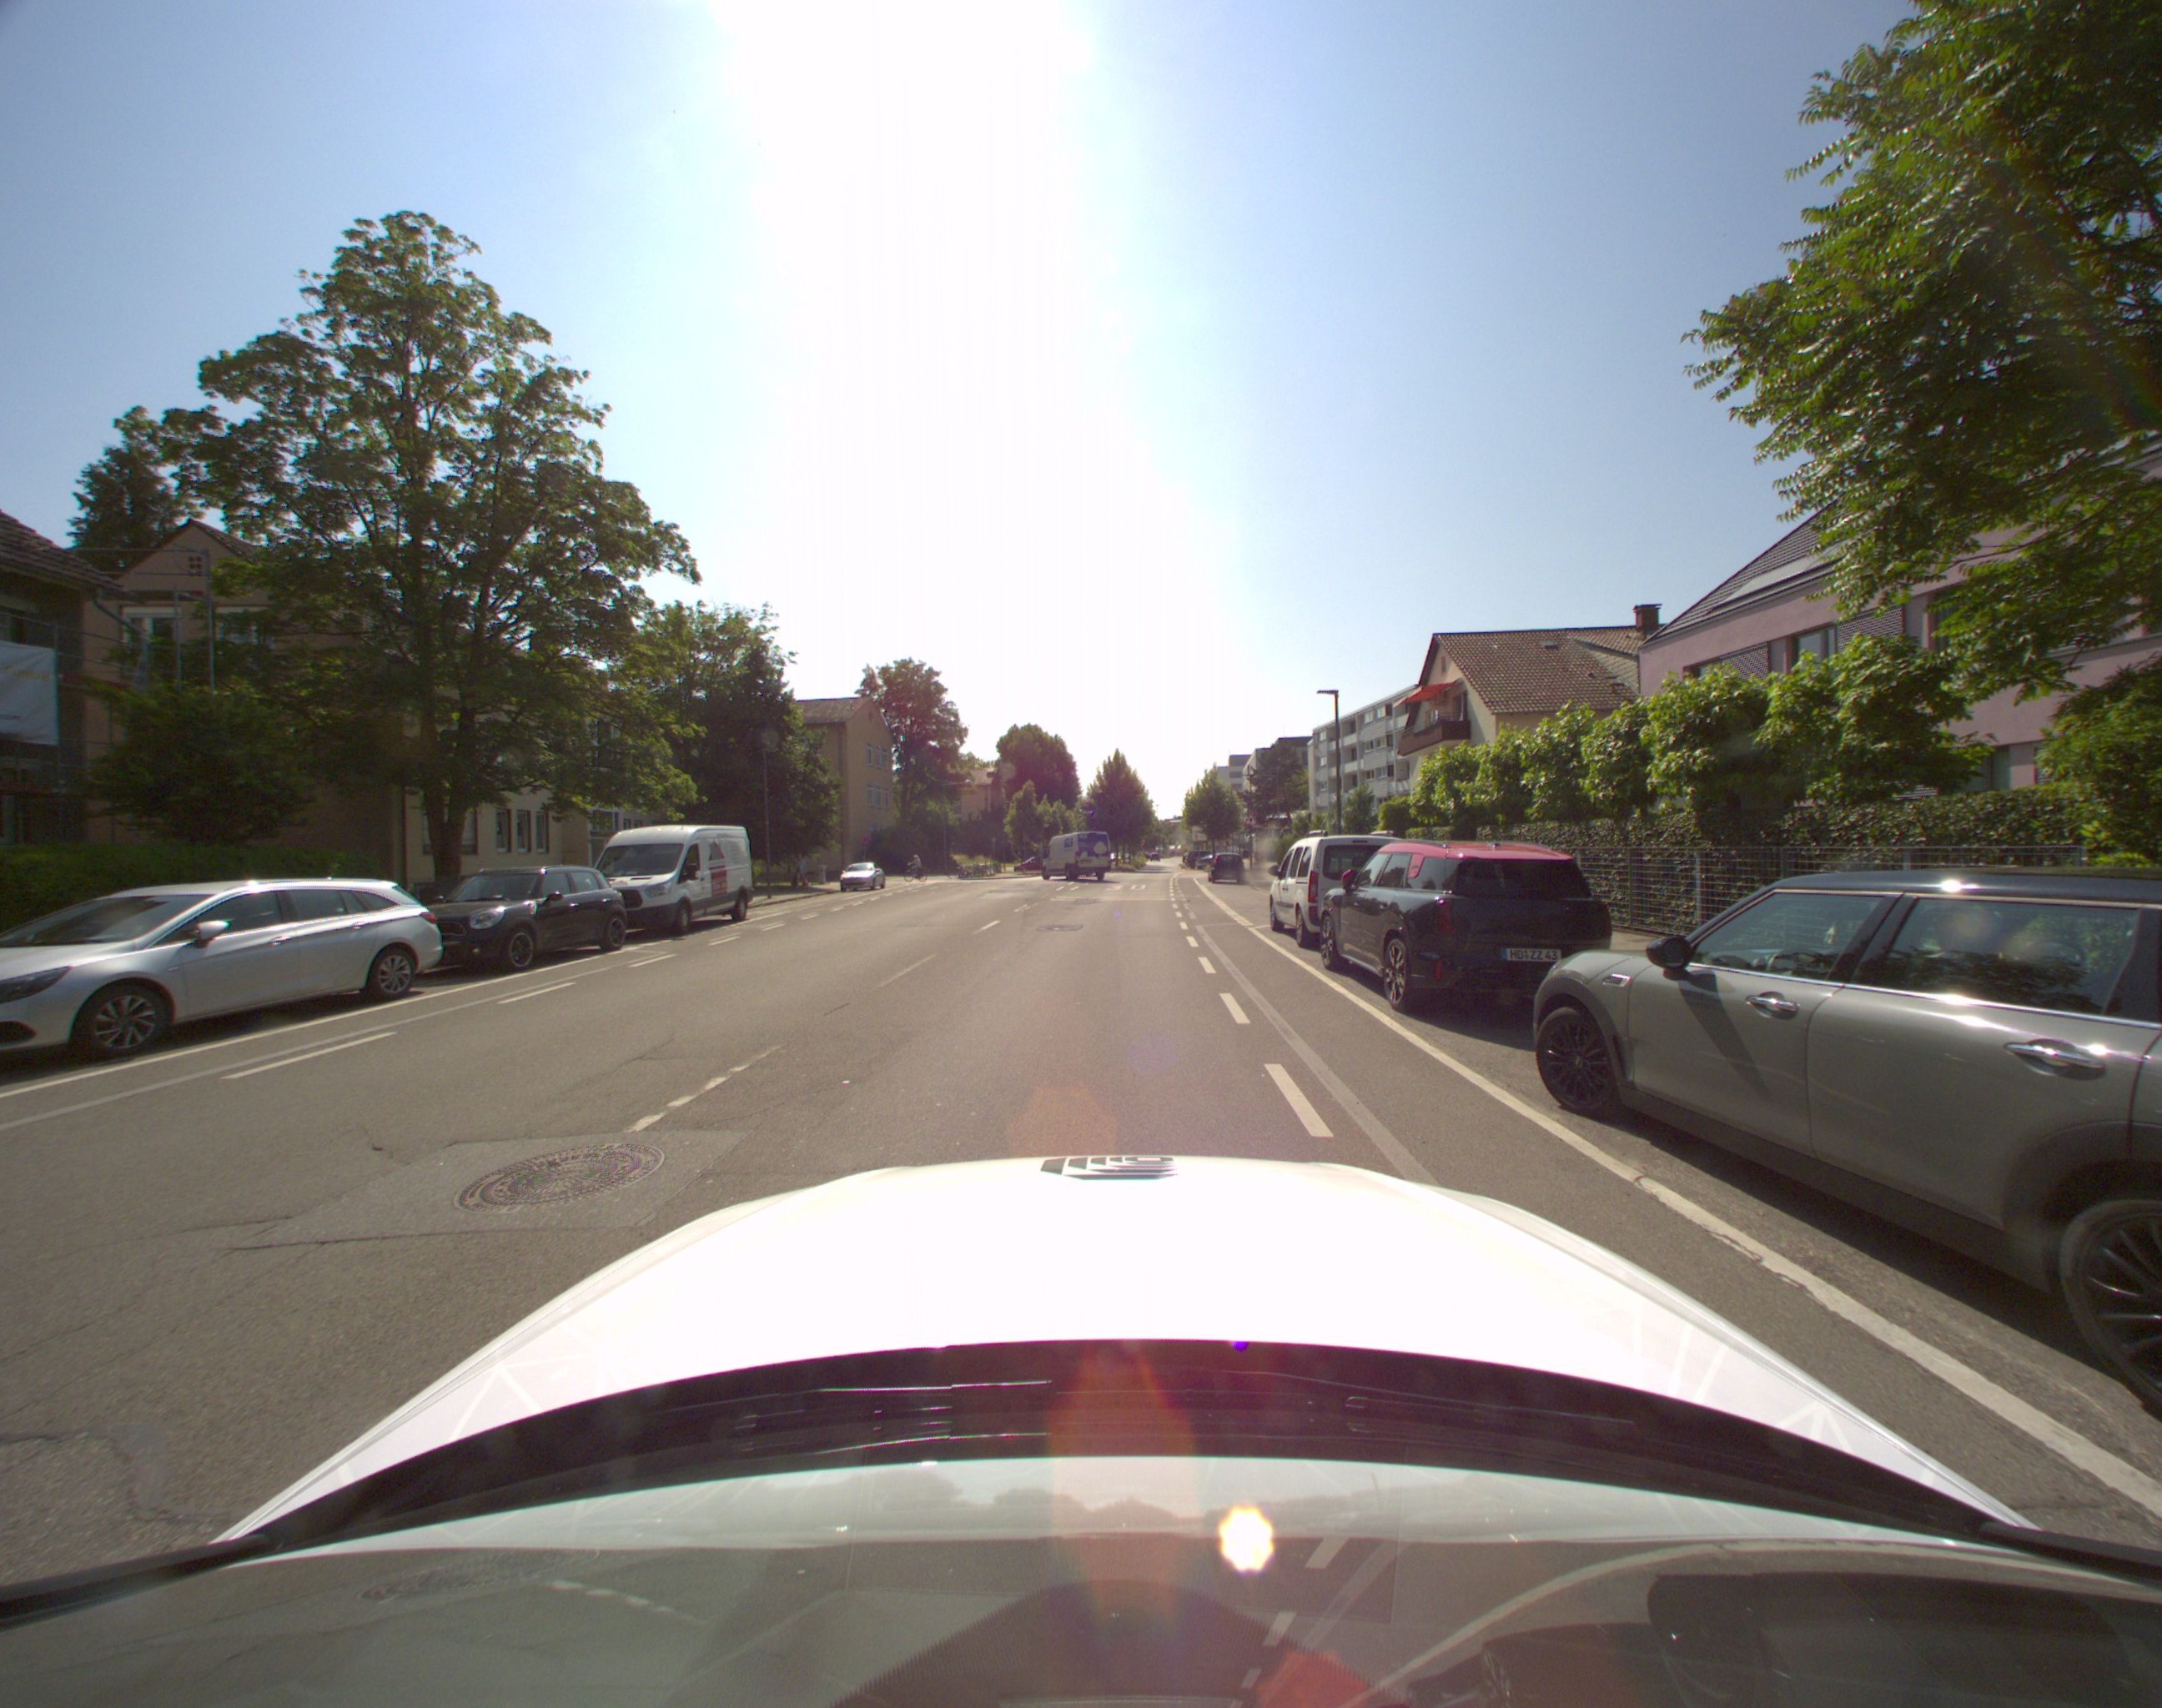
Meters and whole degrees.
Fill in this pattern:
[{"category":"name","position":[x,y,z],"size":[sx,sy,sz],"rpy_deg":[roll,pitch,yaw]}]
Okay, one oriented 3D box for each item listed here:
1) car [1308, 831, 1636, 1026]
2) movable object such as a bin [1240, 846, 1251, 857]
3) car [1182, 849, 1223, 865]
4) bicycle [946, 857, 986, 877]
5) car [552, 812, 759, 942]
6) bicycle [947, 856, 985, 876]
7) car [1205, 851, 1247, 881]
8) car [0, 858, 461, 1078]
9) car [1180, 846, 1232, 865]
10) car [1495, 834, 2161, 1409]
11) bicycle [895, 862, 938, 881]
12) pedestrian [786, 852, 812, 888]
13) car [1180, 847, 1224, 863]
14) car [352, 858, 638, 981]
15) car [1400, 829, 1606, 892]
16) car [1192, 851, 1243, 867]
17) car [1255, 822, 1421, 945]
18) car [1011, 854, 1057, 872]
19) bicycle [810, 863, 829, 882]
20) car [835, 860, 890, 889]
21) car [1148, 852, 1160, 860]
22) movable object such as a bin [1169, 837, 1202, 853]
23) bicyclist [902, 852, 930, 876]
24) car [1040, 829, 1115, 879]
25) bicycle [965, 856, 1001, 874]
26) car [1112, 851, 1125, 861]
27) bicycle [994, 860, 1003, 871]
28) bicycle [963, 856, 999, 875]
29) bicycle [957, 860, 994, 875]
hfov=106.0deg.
[{"category":"car","position":[3.873,0.600,8.986],"size":[1.754,1.593,4.318],"rpy_deg":[-1,1,3]},{"category":"movable object such as a bin","position":[24.816,-0.389,122.681],"size":[1.302,1.592,1.397],"rpy_deg":[-4,0,3]},{"category":"car","position":[12.796,0.321,86.122],"size":[3.982,1.640,1.749],"rpy_deg":[-1,0,-6]},{"category":"bicycle","position":[-7.911,0.878,56.166],"size":[2.533,1.256,0.740],"rpy_deg":[-2,0,3]},{"category":"car","position":[-9.646,0.434,19.209],"size":[2.085,2.496,5.942],"rpy_deg":[-2,1,-5]},{"category":"bicycle","position":[-8.083,0.844,57.334],"size":[2.533,1.239,0.740],"rpy_deg":[-2,0,3]},{"category":"car","position":[7.045,0.568,39.874],"size":[1.609,1.390,4.005],"rpy_deg":[0,0,4]},{"category":"car","position":[-8.946,0.895,8.289],"size":[1.715,1.559,4.670],"rpy_deg":[-2,1,-1]},{"category":"car","position":[11.105,0.137,72.123],"size":[4.130,1.640,2.026],"rpy_deg":[-1,0,-27]},{"category":"car","position":[3.656,0.675,3.363],"size":[1.757,1.443,4.067],"rpy_deg":[-2,1,-1]},{"category":"bicycle","position":[-10.422,1.111,51.551],"size":[2.522,1.113,0.965],"rpy_deg":[-2,0,21]},{"category":"pedestrian","position":[-14.076,0.783,40.668],"size":[0.970,1.780,0.726],"rpy_deg":[-1,0,2]},{"category":"car","position":[13.589,0.105,91.509],"size":[4.758,1.660,1.737],"rpy_deg":[-1,0,-28]},{"category":"car","position":[-9.102,0.903,13.142],"size":[1.715,1.559,3.998],"rpy_deg":[-2,1,-1]},{"category":"car","position":[12.358,0.190,24.120],"size":[5.066,1.706,1.980],"rpy_deg":[-1,0,3]},{"category":"car","position":[11.628,0.405,69.344],"size":[4.000,1.236,1.741],"rpy_deg":[-1,0,-20]},{"category":"car","position":[4.338,0.456,14.505],"size":[1.755,1.827,4.602],"rpy_deg":[1,-1,3]},{"category":"car","position":[-4.461,0.844,76.575],"size":[3.994,1.466,1.990],"rpy_deg":[-3,1,-15]},{"category":"bicycle","position":[-15.586,1.095,48.580],"size":[0.380,1.081,1.695],"rpy_deg":[-2,1,-43]},{"category":"car","position":[-10.942,0.982,41.000],"size":[1.715,1.266,3.998],"rpy_deg":[-2,1,-1]},{"category":"car","position":[12.887,0.398,143.896],"size":[1.985,1.398,4.003],"rpy_deg":[-1,0,3]},{"category":"movable object such as a bin","position":[31.346,-2.765,244.955],"size":[9.621,4.550,3.171],"rpy_deg":[-1,0,7]},{"category":"bicyclist","position":[-10.420,0.627,51.534],"size":[1.339,1.403,0.965],"rpy_deg":[-2,0,22]},{"category":"car","position":[-0.307,0.011,45.256],"size":[2.282,2.524,6.097],"rpy_deg":[-2,0,-18]},{"category":"bicycle","position":[-7.280,0.839,60.752],"size":[2.533,1.256,0.740],"rpy_deg":[-1,0,3]},{"category":"car","position":[6.105,0.334,131.027],"size":[1.732,1.547,4.081],"rpy_deg":[-3,0,7]},{"category":"bicycle","position":[-6.991,0.976,69.106],"size":[0.518,0.903,1.271],"rpy_deg":[-2,-1,1]},{"category":"bicycle","position":[-7.349,0.836,59.815],"size":[2.504,1.256,0.740],"rpy_deg":[-2,0,3]},{"category":"bicycle","position":[-7.562,0.961,58.379],"size":[2.533,0.987,0.740],"rpy_deg":[-2,0,3]}]
